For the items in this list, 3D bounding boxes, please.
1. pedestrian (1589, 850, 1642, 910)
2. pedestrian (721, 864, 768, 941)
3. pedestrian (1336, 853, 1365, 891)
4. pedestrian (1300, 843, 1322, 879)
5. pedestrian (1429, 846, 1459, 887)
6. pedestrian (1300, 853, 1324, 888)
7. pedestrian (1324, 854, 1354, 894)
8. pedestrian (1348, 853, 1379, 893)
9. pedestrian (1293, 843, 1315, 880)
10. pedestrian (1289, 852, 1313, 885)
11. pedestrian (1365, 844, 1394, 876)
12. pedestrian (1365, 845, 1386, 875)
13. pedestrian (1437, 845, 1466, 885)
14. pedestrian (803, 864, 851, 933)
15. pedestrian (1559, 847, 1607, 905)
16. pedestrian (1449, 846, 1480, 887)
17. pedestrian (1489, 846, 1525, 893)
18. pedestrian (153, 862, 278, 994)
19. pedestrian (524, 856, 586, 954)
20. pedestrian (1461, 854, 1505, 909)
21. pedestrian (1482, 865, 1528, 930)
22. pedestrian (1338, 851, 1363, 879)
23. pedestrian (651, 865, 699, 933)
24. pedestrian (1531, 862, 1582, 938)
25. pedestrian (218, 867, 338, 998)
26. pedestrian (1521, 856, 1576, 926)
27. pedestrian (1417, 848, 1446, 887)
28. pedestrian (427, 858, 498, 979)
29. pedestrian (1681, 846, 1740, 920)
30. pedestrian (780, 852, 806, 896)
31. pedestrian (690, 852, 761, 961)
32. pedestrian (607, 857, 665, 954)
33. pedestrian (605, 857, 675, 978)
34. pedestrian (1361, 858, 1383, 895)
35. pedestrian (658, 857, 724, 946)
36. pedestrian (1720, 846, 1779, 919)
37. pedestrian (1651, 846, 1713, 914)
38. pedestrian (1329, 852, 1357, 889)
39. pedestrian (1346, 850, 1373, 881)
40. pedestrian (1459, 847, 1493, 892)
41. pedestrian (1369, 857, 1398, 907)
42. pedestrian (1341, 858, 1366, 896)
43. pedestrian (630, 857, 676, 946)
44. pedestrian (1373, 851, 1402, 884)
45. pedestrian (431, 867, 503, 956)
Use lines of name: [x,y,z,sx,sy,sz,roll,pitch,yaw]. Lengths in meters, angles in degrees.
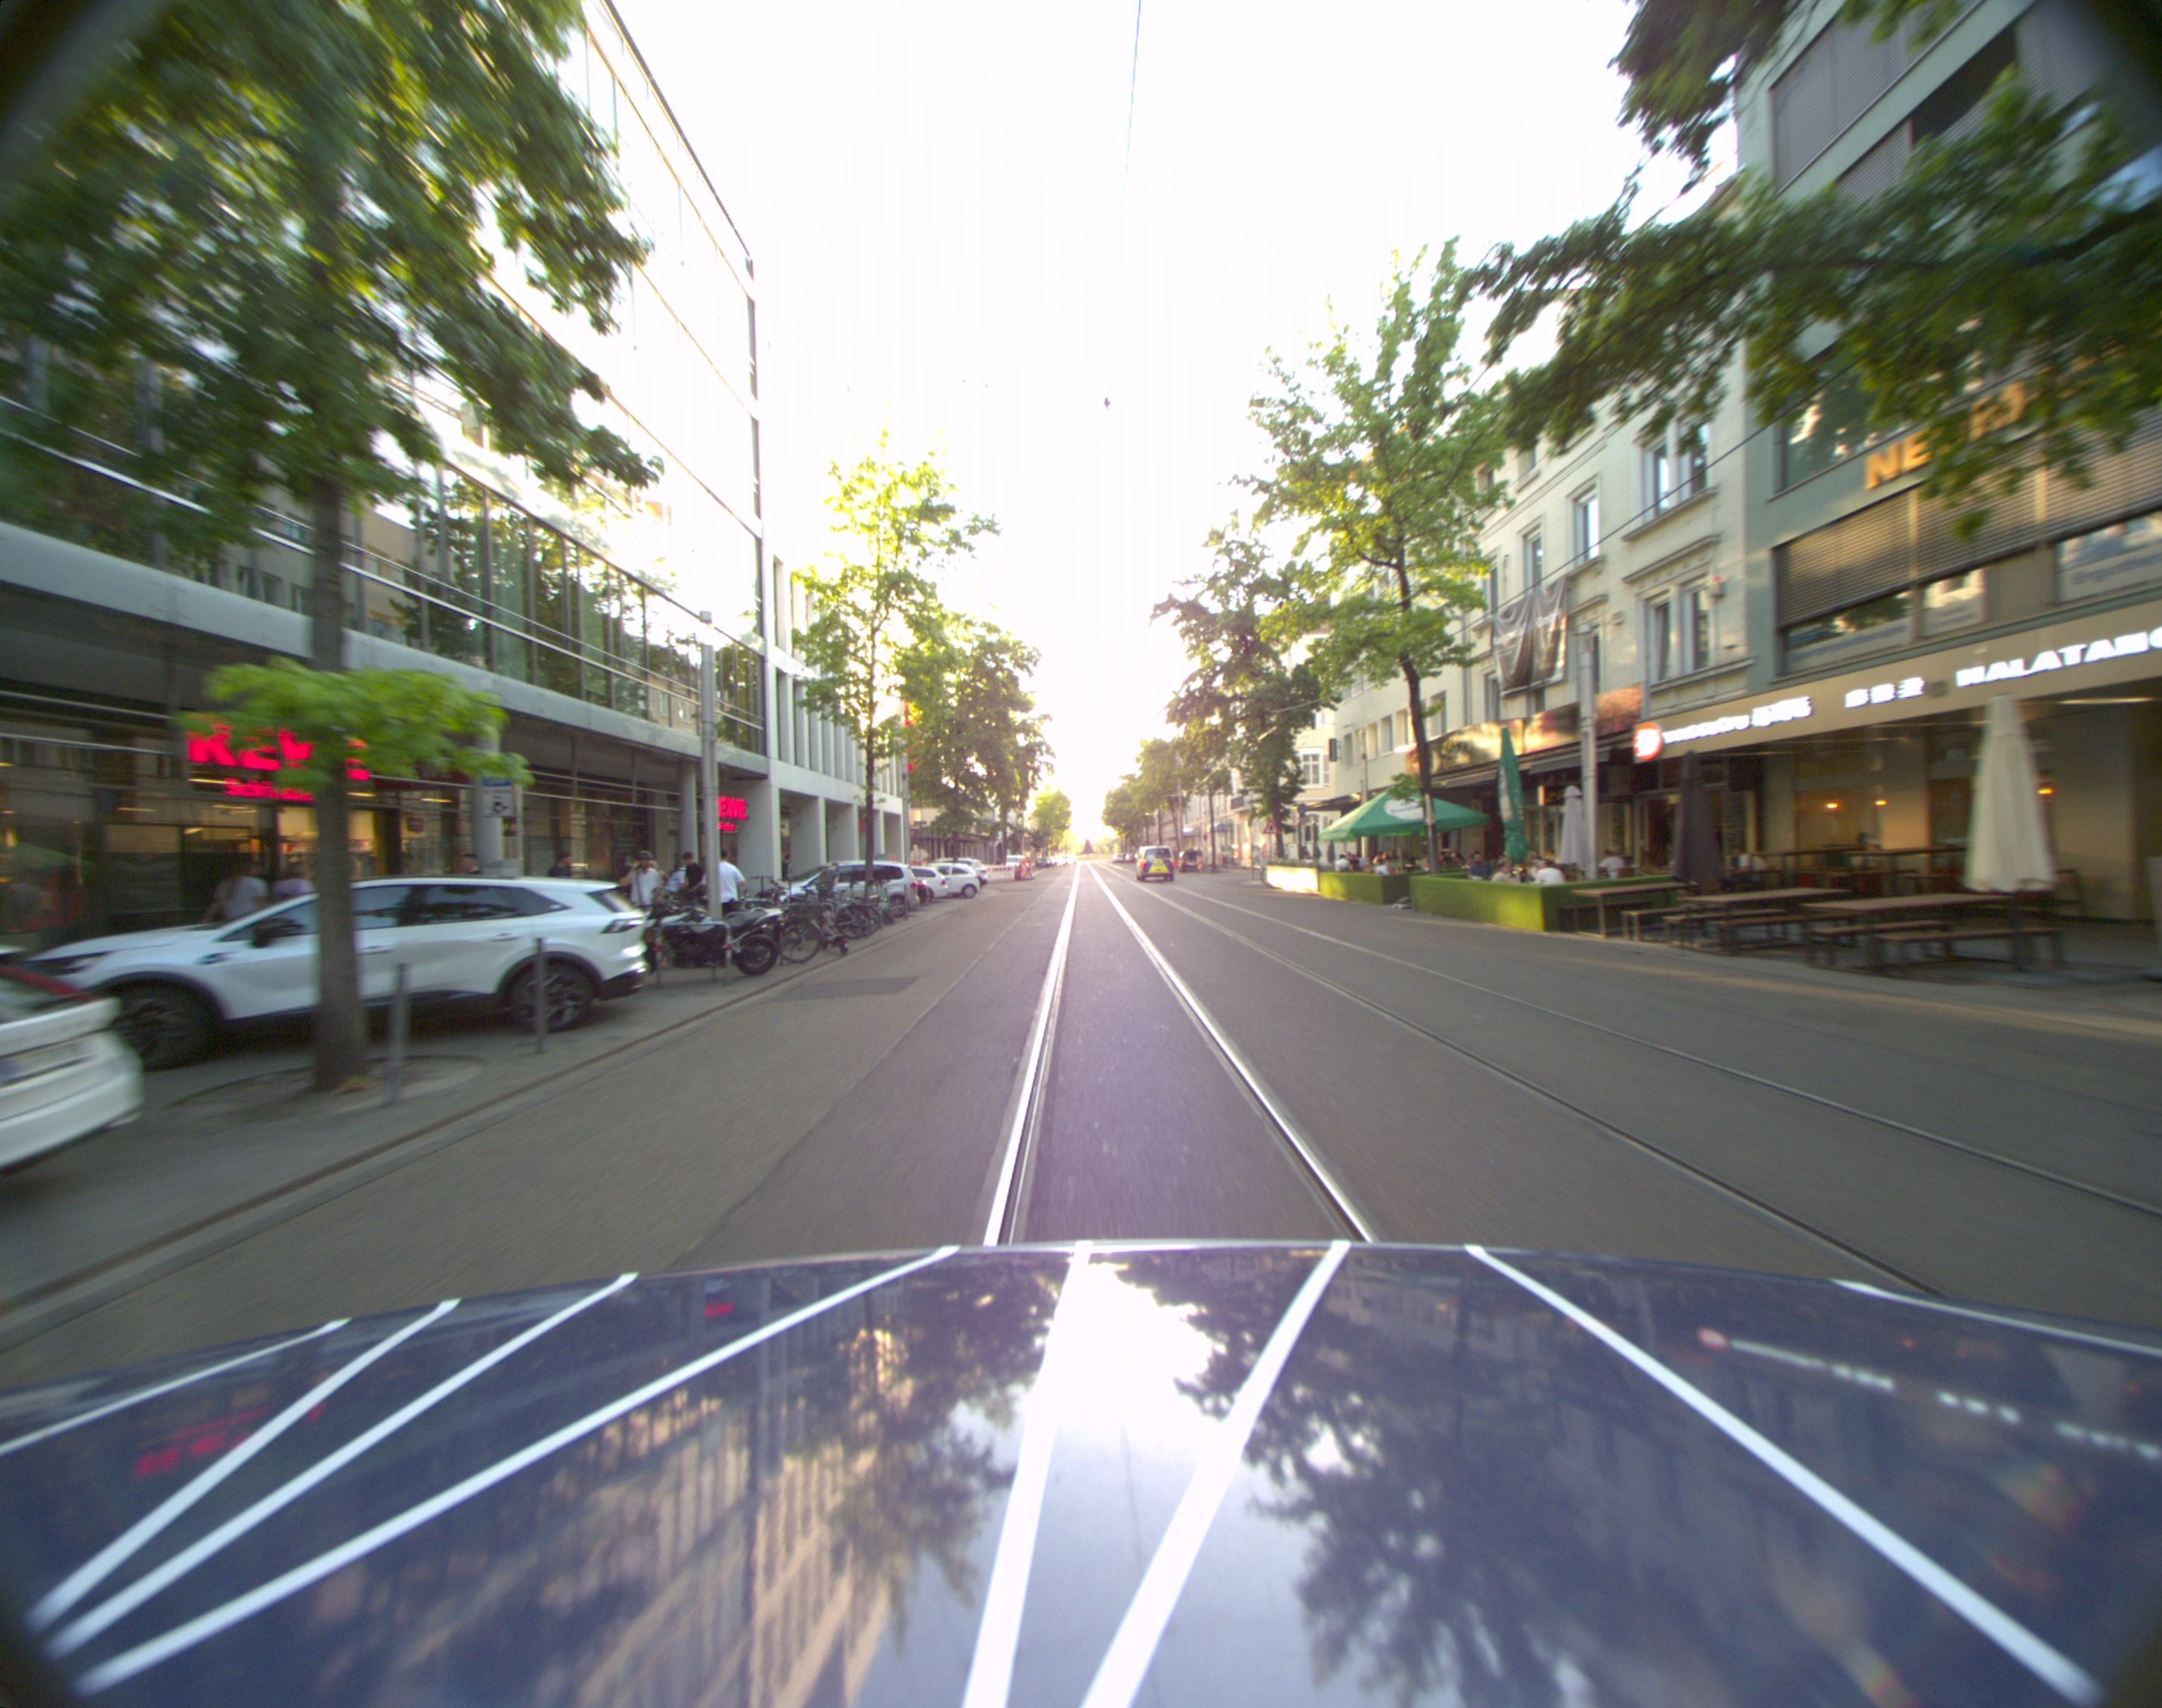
pedestrian: [12.337,0.578,17.563,0.656,1.323,0.765,-2,1,1]
pedestrian: [-7.282,1.025,16.469,0.704,1.615,0.661,0,1,35]
pedestrian: [9.866,0.647,27.859,0.717,1.354,0.924,-2,1,2]
pedestrian: [11.292,0.327,37.303,0.782,1.731,0.640,-3,2,-34]
pedestrian: [12.680,0.417,26.557,0.656,1.370,0.765,-2,1,1]
pedestrian: [9.425,0.655,31.008,0.717,1.354,0.871,-2,1,2]
pedestrian: [9.071,0.699,26.747,0.717,1.354,1.012,-2,1,2]
pedestrian: [9.956,0.662,26.804,0.717,1.354,1.012,-2,1,2]
pedestrian: [10.735,0.363,36.553,0.783,1.731,0.640,-4,2,-42]
pedestrian: [9.328,0.592,32.253,0.717,1.354,0.924,-2,1,2]
pedestrian: [12.741,0.263,32.476,0.887,1.312,0.881,-2,1,3]
pedestrian: [13.417,0.279,34.628,0.623,1.312,0.842,-2,1,3]
pedestrian: [13.355,0.385,27.410,0.656,1.370,0.765,-2,1,1]
pedestrian: [-6.125,1.046,18.341,0.790,1.616,0.770,0,0,19]
pedestrian: [12.316,0.532,18.661,0.656,1.370,0.765,-2,1,1]
pedestrian: [13.383,0.431,26.526,0.656,1.370,0.765,-2,1,1]
pedestrian: [12.959,0.465,23.134,0.656,1.370,0.765,-2,1,1]
pedestrian: [-11.807,0.978,10.394,0.664,1.689,0.805,-2,2,0]
pedestrian: [-9.894,0.935,14.311,0.659,1.802,0.717,0,0,5]
pedestrian: [9.655,0.644,18.273,0.710,1.257,0.600,-2,2,1]
pedestrian: [8.601,0.872,15.417,0.552,1.259,0.641,-2,1,1]
pedestrian: [12.957,0.515,36.528,0.887,1.312,0.881,-2,1,3]
pedestrian: [-9.597,1.051,17.962,0.761,1.563,0.632,-1,1,23]
pedestrian: [8.986,0.855,14.368,0.581,1.370,0.564,-2,2,1]
pedestrian: [-11.017,1.047,10.453,0.681,1.689,0.805,-2,2,0]
pedestrian: [9.465,0.735,15.414,0.645,1.338,0.731,-2,1,2]
pedestrian: [12.666,0.491,27.478,0.656,1.370,0.765,-2,1,1]
pedestrian: [-9.556,0.957,11.744,0.790,1.802,0.661,0,1,35]
pedestrian: [12.288,0.553,14.852,0.606,1.370,0.648,-2,2,1]
pedestrian: [-11.492,0.791,30.303,0.681,1.689,0.805,-2,-1,0]
pedestrian: [-6.429,0.927,13.790,0.952,1.902,0.862,1,-1,-11]
pedestrian: [-8.525,0.962,14.570,0.658,1.802,0.718,0,1,30]
pedestrian: [-6.875,0.965,11.845,0.820,1.801,0.599,2,-1,-38]
pedestrian: [9.755,0.744,25.472,0.544,1.211,0.511,-2,1,2]
pedestrian: [-8.283,0.974,16.162,0.885,1.802,0.939,0,0,35]
pedestrian: [12.976,0.538,14.767,0.538,1.370,0.679,-2,1,1]
pedestrian: [12.730,0.535,16.124,0.692,1.370,0.765,-2,1,1]
pedestrian: [9.945,0.626,28.900,0.717,1.354,1.012,-2,1,2]
pedestrian: [12.624,0.513,34.456,0.887,1.312,0.881,-2,1,3]
pedestrian: [12.515,0.484,24.110,0.656,1.370,0.765,-2,1,1]
pedestrian: [8.547,0.792,21.490,0.548,1.370,0.564,-2,2,1]
pedestrian: [9.140,0.770,25.495,0.587,1.228,0.544,-2,1,2]
pedestrian: [-8.753,0.944,15.543,0.718,1.744,0.730,0,1,-38]
pedestrian: [12.677,0.540,31.475,0.849,1.312,0.882,-2,1,4]
pedestrian: [-11.175,1.034,13.843,0.681,1.539,0.664,-2,2,0]
